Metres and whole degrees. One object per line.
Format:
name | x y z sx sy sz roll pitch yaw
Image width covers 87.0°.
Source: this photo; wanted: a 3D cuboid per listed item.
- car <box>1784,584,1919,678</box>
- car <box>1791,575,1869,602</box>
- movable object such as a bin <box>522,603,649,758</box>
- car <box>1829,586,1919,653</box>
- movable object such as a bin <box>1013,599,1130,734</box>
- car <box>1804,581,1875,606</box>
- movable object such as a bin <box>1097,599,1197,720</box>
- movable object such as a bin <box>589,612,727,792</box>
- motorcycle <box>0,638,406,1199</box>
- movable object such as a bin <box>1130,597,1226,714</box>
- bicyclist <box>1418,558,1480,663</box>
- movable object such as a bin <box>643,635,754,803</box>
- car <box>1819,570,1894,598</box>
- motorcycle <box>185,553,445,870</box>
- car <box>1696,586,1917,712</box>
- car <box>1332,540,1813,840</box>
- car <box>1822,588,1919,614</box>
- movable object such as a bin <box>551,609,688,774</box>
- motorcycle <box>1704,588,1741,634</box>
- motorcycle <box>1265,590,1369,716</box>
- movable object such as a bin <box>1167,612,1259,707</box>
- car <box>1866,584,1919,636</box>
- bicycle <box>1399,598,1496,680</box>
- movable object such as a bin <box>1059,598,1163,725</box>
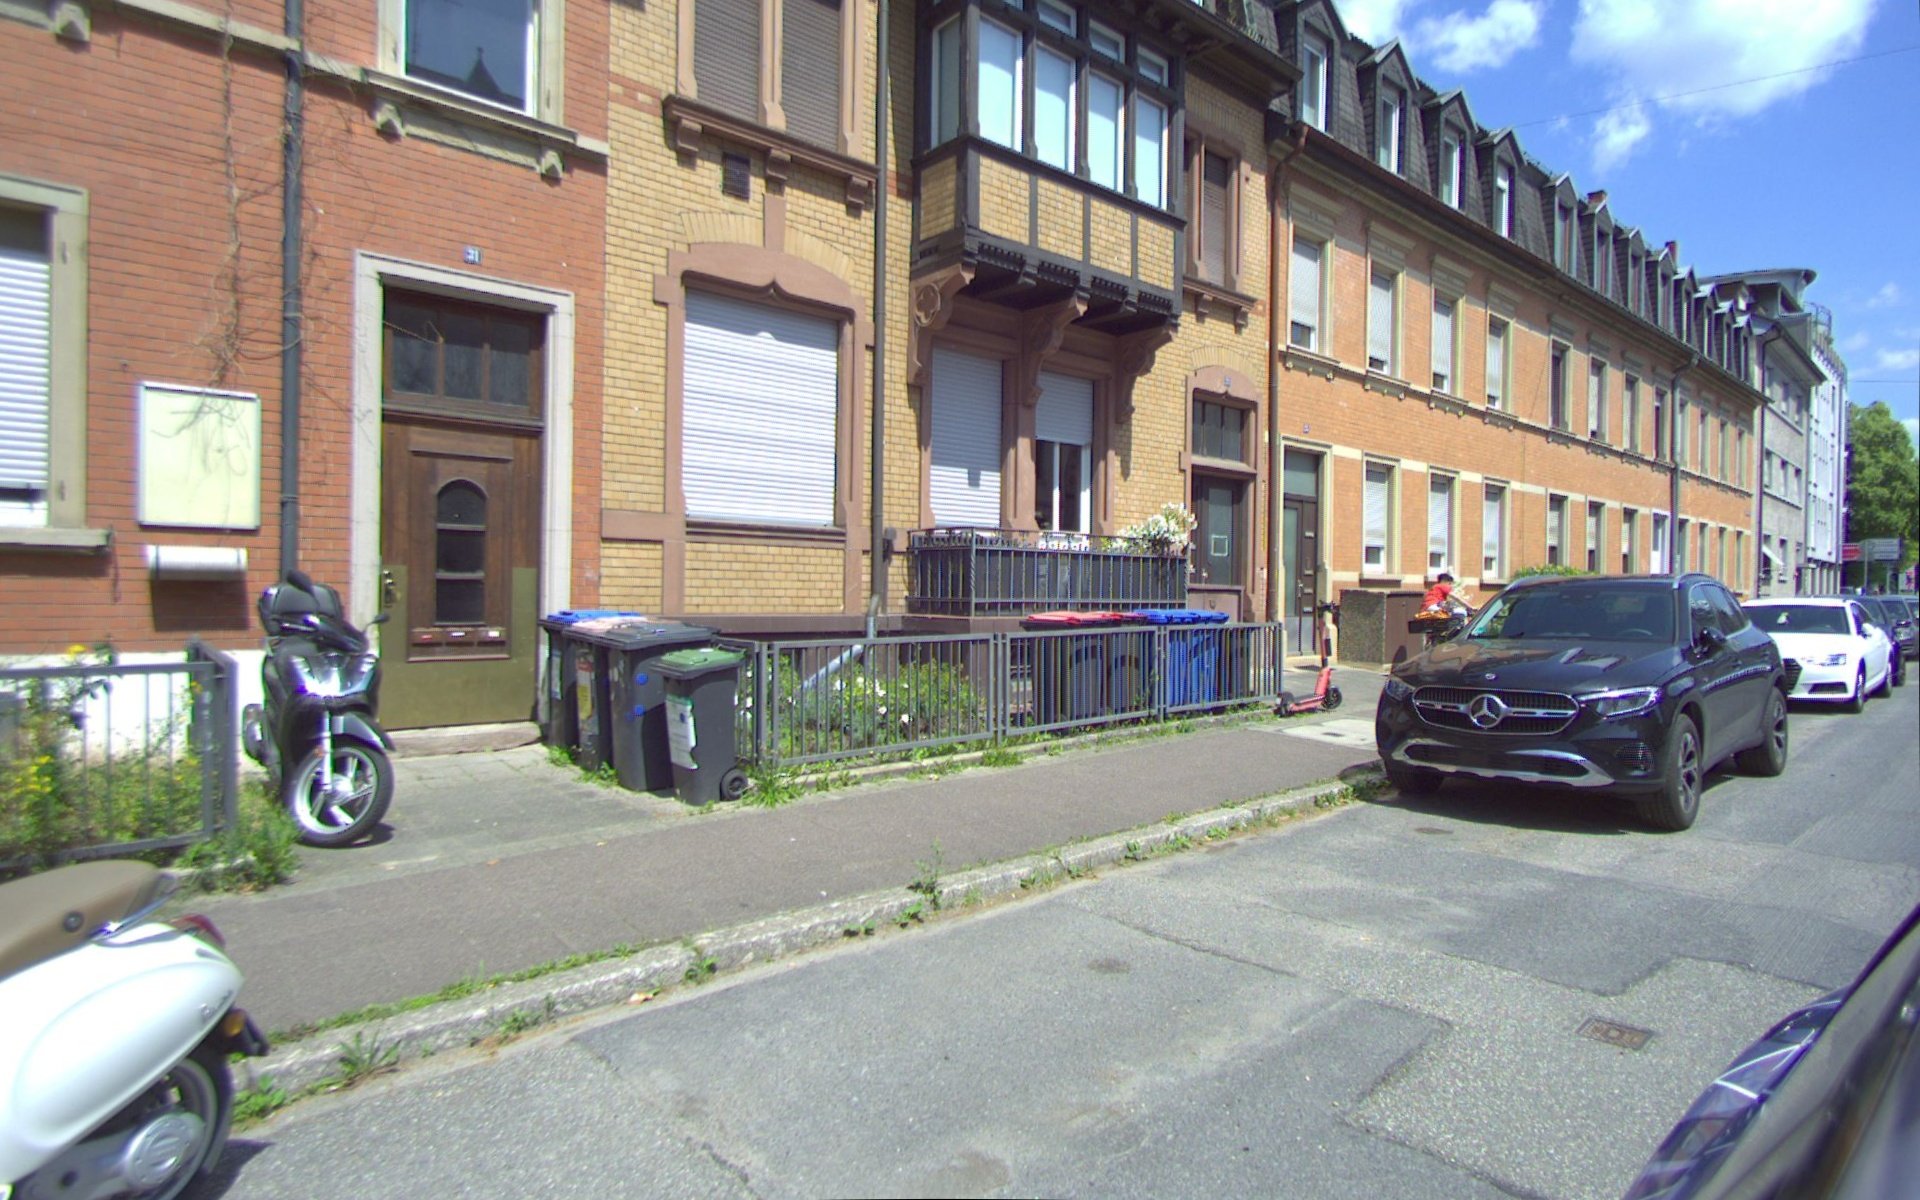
car | 15.802 0.452 17.943 1.647 1.432 4.434 0 1 42
car | 60.239 -0.796 70.084 1.984 1.772 3.988 -1 1 -45
movable object such as a bin | -2.856 0.577 7.719 0.748 1.090 0.610 0 1 -41
car | 21.557 0.405 23.567 4.099 1.398 1.701 -1 1 -45
movable object such as a bin | 0.991 0.559 9.031 0.675 1.102 0.788 0 1 -44
car | 62.279 -0.466 71.737 3.760 1.688 1.639 1 2 41
movable object such as a bin | 1.811 0.550 9.851 0.535 1.102 0.788 0 1 -44
movable object such as a bin | -2.003 0.638 6.717 0.714 1.089 0.558 0 1 -41
motorcycle | -1.995 0.826 1.719 1.091 1.403 1.998 -1 1 -3
movable object such as a bin | 2.206 0.534 10.258 0.530 1.102 0.788 0 1 -44
bicyclist | 7.136 0.132 14.766 0.777 1.487 0.533 -1 1 -41
movable object such as a bin | -1.630 0.714 6.314 0.517 0.953 0.482 0 1 -41
car | 77.012 -1.342 86.978 2.071 2.305 4.605 -1 -1 -44
motorcycle | -3.722 0.468 5.740 0.921 1.425 2.133 -1 3 -42
car | 11.852 0.546 14.055 4.510 1.432 1.719 -1 2 -42
car | 4.987 0.444 7.938 4.546 1.682 1.997 -1 2 -42
car | 50.589 0.037 55.823 4.581 1.382 1.968 0 1 44
movable object such as a bin | -2.420 0.612 7.195 0.735 1.068 0.660 0 1 -41
motorcycle | 21.591 0.291 28.652 1.338 1.240 0.596 -1 1 -43
motorcycle | 3.820 0.529 10.775 1.335 1.253 0.440 0 2 -43
movable object such as a bin | 2.670 0.608 10.698 0.530 0.918 0.788 0 2 -44
car | 29.163 0.256 31.043 1.851 1.481 4.485 0 1 40
bicycle | 7.099 0.535 14.704 1.850 1.079 0.594 -1 2 -42
movable object such as a bin | 1.403 0.544 9.445 0.545 1.102 0.788 0 1 -44
